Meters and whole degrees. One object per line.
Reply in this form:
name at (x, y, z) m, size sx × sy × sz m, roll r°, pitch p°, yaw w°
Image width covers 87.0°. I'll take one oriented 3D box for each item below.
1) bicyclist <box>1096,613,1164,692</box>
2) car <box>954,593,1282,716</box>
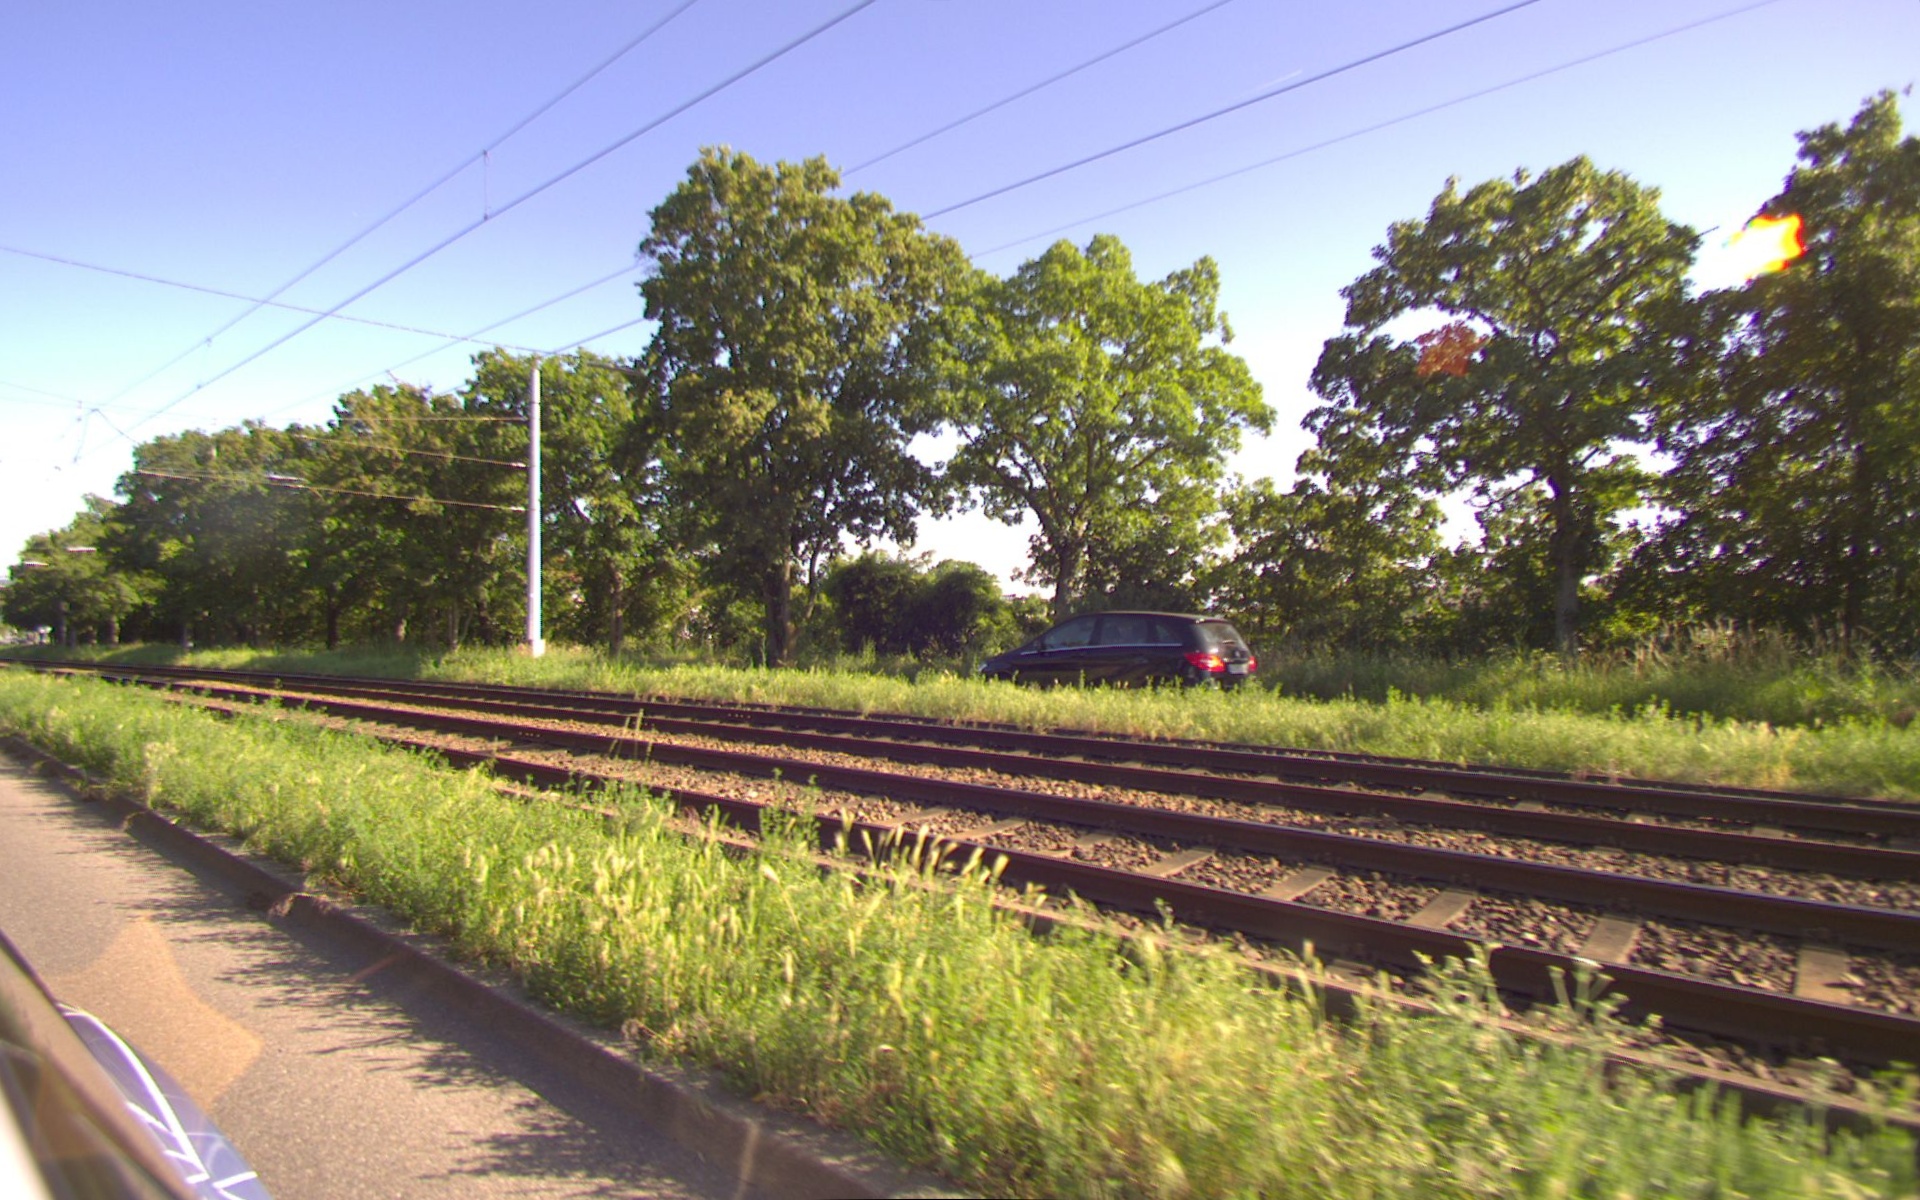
bicyclist at (2.951, 0.906, 17.619) m, size 0.987 × 1.320 × 0.576 m, roll -2°, pitch -1°, yaw 41°
car at (2.156, 0.725, 14.648) m, size 4.405 × 1.500 × 1.790 m, roll -2°, pitch -1°, yaw 42°
